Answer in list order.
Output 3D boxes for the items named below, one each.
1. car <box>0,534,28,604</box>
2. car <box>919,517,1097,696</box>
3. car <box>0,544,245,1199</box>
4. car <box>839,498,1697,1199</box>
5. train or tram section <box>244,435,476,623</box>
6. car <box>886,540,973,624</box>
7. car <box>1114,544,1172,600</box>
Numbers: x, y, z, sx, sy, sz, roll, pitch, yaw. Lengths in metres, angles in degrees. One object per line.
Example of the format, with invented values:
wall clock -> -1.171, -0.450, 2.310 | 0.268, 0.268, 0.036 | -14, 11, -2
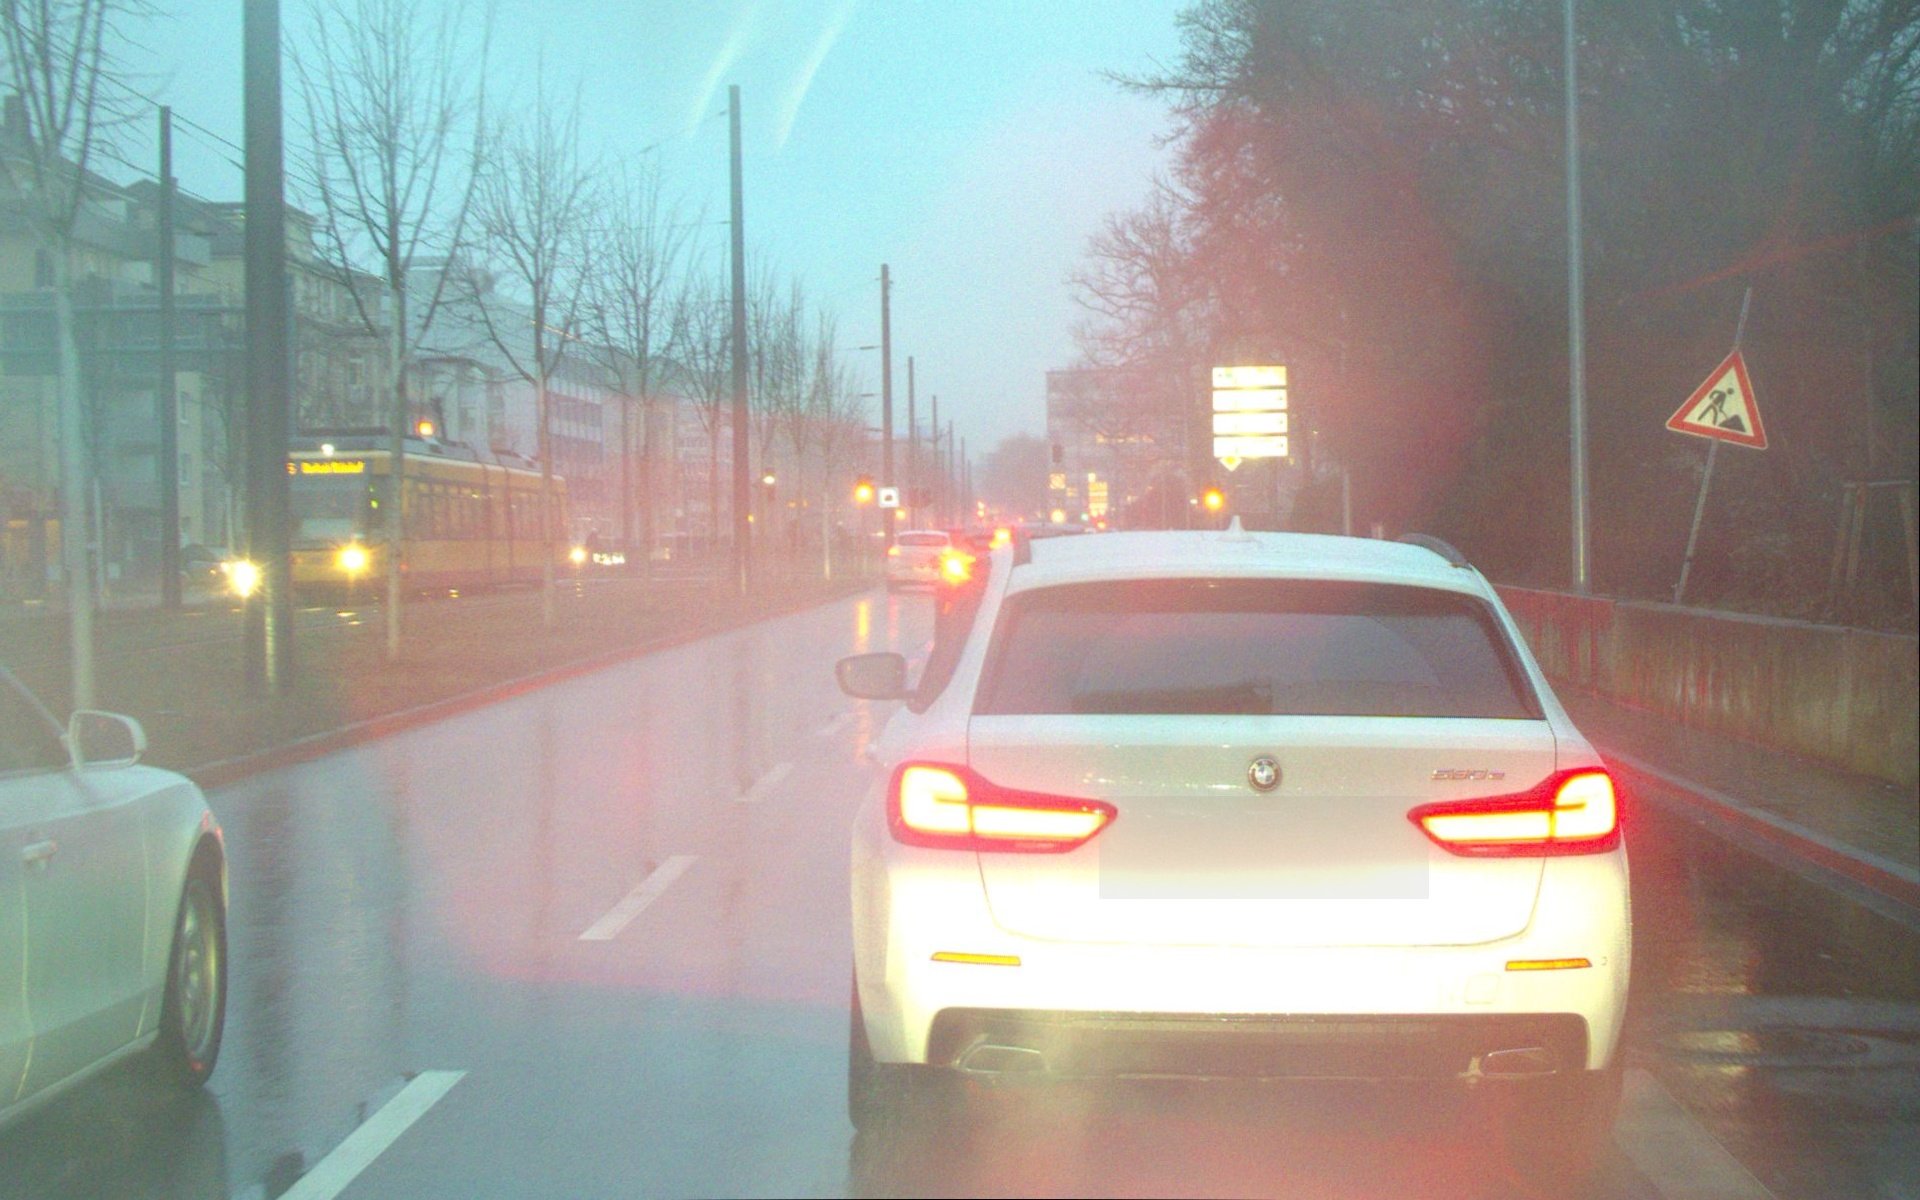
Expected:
car -> -29.295, -0.859, 97.992 | 4.870, 2.007, 1.999 | -2, 2, -40
car -> 0.583, 0.043, 40.838 | 1.993, 2.007, 4.000 | 1, 1, 1
car -> -2.824, 0.613, 7.095 | 1.760, 1.464, 4.251 | 1, 1, 1
car -> 0.569, 0.537, 9.273 | 1.759, 1.547, 4.252 | 1, 1, -2
train or tram section -> -12.037, -1.423, 69.900 | 2.842, 3.492, 9.158 | -2, 1, 1
car -> -0.725, -0.471, 84.759 | 1.993, 2.007, 4.000 | 1, 1, 1
car -> 6.762, -1.059, 127.146 | 1.993, 2.007, 4.000 | 1, 1, 1
